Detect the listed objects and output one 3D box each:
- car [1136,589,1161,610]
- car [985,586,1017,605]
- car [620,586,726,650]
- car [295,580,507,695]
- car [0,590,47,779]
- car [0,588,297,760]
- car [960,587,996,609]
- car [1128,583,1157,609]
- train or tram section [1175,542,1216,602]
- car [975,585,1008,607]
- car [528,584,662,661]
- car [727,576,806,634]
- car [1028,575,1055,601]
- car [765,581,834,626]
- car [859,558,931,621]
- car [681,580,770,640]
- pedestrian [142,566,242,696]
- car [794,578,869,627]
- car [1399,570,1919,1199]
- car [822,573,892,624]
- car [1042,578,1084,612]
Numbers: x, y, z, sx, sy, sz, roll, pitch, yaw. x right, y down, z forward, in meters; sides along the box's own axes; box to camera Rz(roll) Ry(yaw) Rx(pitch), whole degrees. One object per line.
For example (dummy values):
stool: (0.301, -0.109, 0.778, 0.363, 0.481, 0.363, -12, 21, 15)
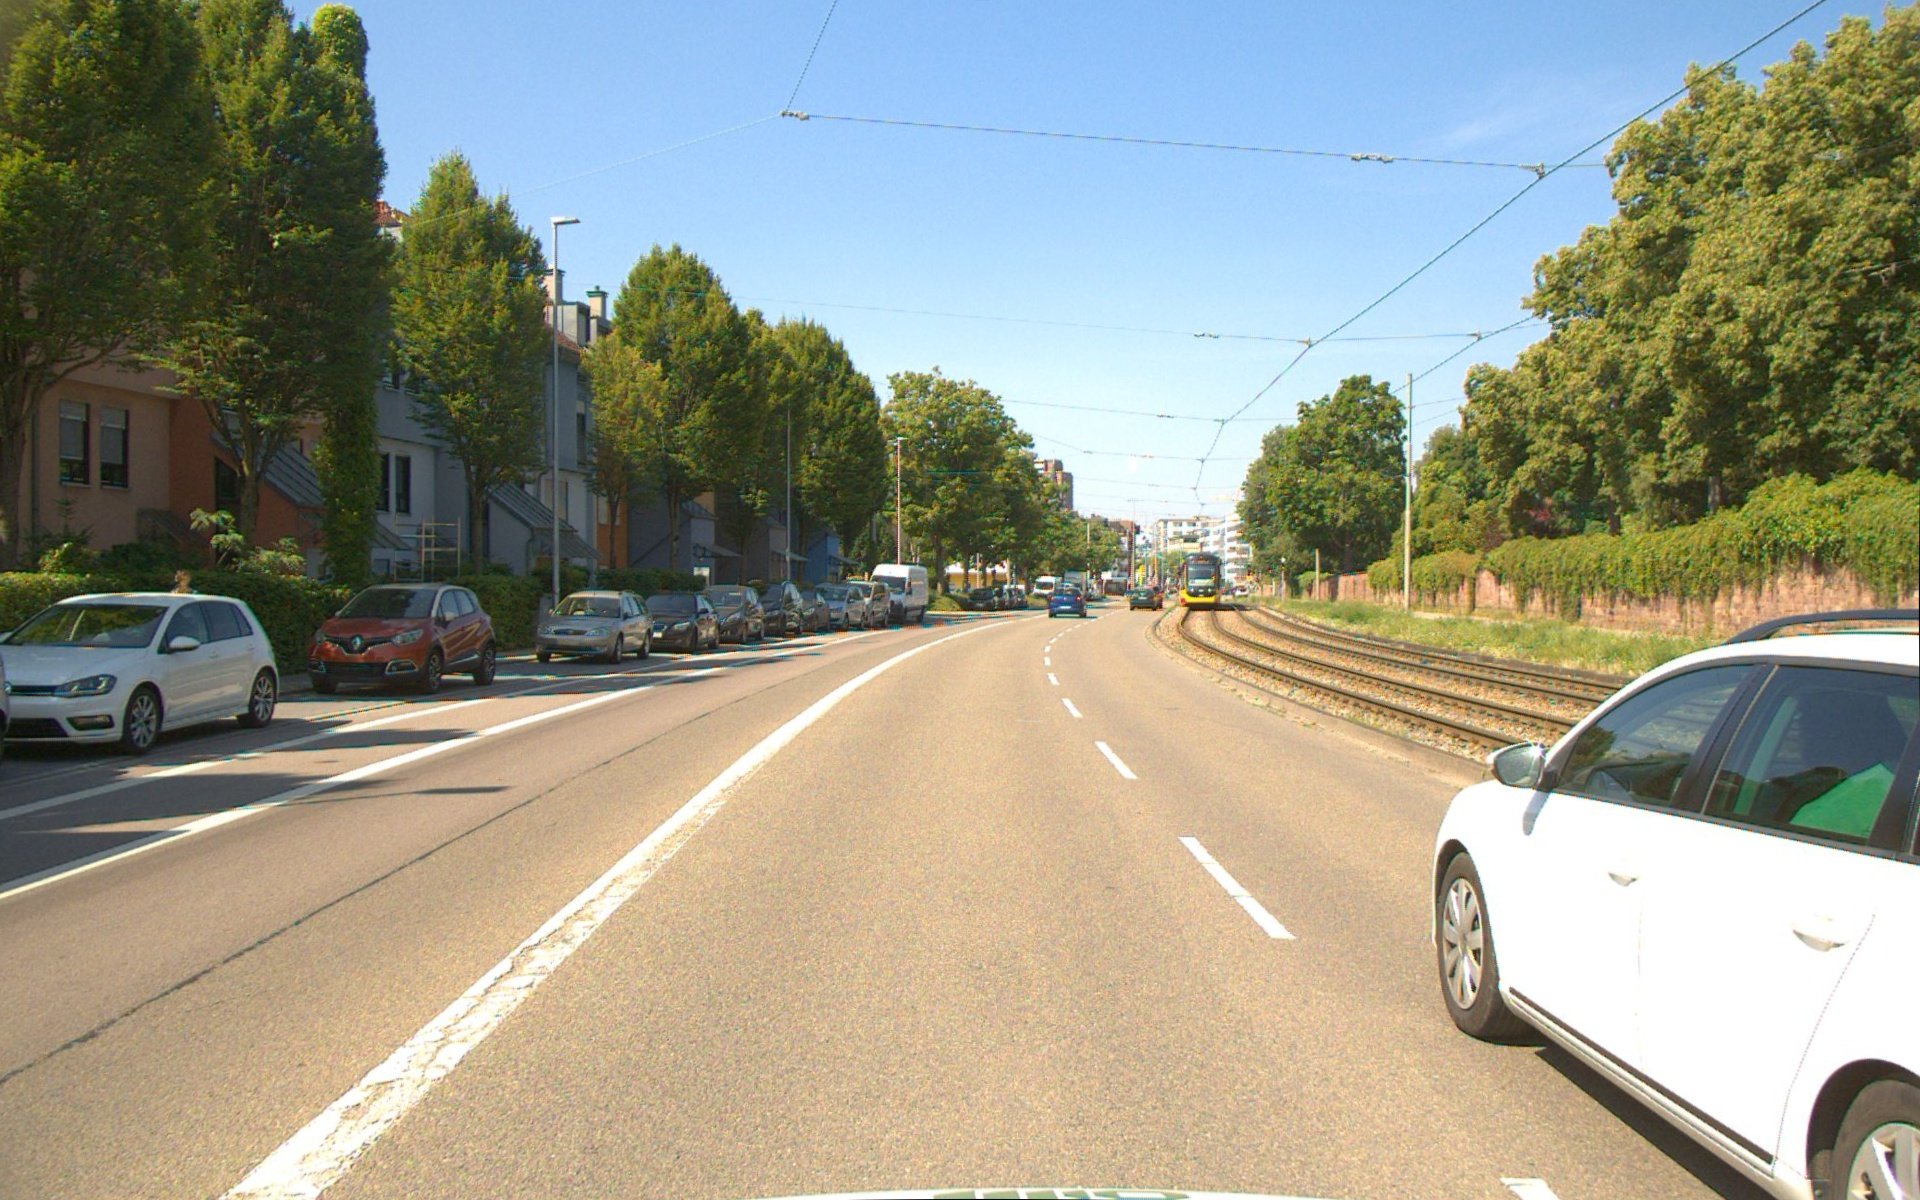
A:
car: (13.577, -0.052, 118.931, 1.762, 1.485, 4.003, 0, 1, 7)
car: (3.036, -0.354, 121.428, 1.663, 1.375, 4.004, 0, 0, 11)
car: (-7.319, 0.411, 42.654, 1.687, 1.500, 4.717, 2, 1, 2)
car: (-8.369, 0.494, 25.175, 1.695, 1.579, 4.319, 1, 1, 1)
car: (-8.469, 0.679, 12.137, 1.577, 1.509, 3.635, 2, 1, -2)
car: (-8.398, 0.633, 16.624, 1.721, 1.454, 4.282, 1, 1, 0)
car: (1.214, -0.153, 108.648, 1.663, 1.442, 4.004, 0, 0, 11)
car: (11.644, -0.275, 105.443, 1.762, 1.533, 4.003, 1, 1, 7)
train or tram section: (16.018, -1.865, 112.032, 2.457, 3.812, 13.322, 0, 1, 9)
car: (2.247, -0.270, 116.064, 1.663, 1.508, 4.004, 0, 0, 11)
car: (-7.891, 0.452, 36.163, 1.744, 1.509, 4.858, 1, 0, 1)
car: (-6.273, 0.142, 54.099, 1.732, 1.753, 4.872, 2, 1, 3)
car: (7.695, -1.132, 155.388, 1.840, 2.458, 5.121, 0, 0, 11)
car: (-5.743, 0.105, 59.561, 1.655, 1.500, 4.051, 3, 1, 5)
car: (-3.028, -0.488, 78.600, 1.952, 2.761, 7.163, 3, 1, 9)
car: (-6.839, 0.263, 48.581, 1.681, 1.653, 4.315, 1, 1, 4)
pedestrian: (-10.443, 0.404, 22.519, 0.857, 1.720, 1.055, 0, 0, 0)
car: (-4.981, 0.056, 64.676, 1.762, 1.754, 4.913, 3, 1, 9)
car: (2.596, 0.669, 4.254, 1.657, 1.476, 4.457, 0, 1, -1)
car: (-4.322, -0.068, 70.293, 1.879, 1.982, 5.358, 3, 1, 8)
car: (5.037, -0.254, 80.451, 1.762, 1.533, 4.004, 1, 2, 7)
